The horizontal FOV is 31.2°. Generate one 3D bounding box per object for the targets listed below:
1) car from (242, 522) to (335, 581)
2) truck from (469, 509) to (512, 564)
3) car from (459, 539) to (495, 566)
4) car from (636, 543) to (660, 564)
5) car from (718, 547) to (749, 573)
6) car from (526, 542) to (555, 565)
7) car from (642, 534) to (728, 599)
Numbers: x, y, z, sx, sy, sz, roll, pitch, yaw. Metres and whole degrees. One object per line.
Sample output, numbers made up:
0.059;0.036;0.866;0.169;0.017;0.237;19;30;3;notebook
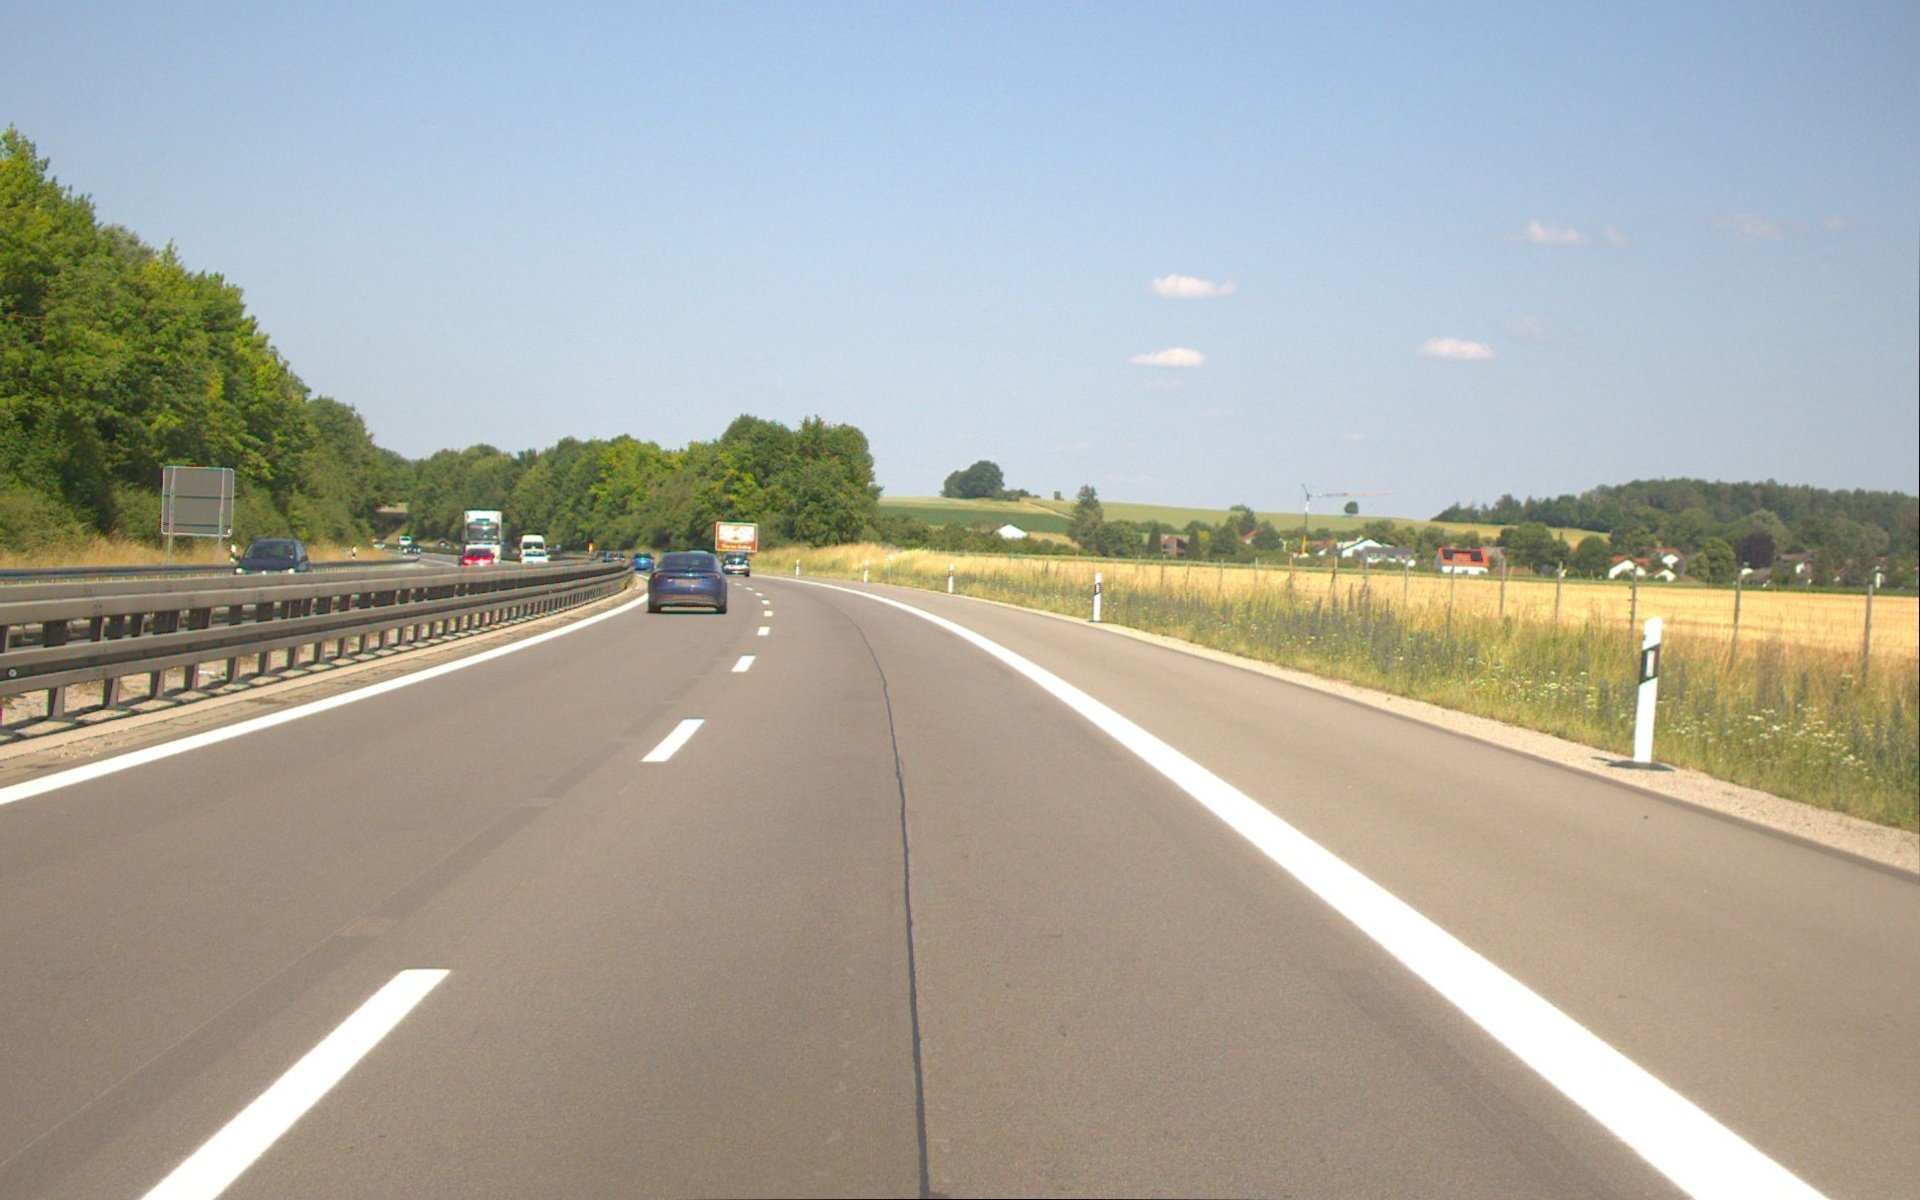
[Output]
-18.733;-1.361;96.047;1.810;1.550;4.850;2;1;-2;car
-33.354;-4.506;244.267;2.745;3.816;5.913;1;1;-6;truck
-26.577;-2.624;189.232;1.672;1.432;4.143;2;1;-4;car
-22.548;-3.348;248.425;1.676;1.448;3.592;1;1;-4;car
-13.330;-2.372;202.007;1.675;1.448;3.593;1;1;-6;car
-28.297;-3.138;232.117;1.685;1.478;4.978;1;1;-4;car
-6.508;-0.828;81.924;1.847;1.428;5.867;1;1;-3;car
